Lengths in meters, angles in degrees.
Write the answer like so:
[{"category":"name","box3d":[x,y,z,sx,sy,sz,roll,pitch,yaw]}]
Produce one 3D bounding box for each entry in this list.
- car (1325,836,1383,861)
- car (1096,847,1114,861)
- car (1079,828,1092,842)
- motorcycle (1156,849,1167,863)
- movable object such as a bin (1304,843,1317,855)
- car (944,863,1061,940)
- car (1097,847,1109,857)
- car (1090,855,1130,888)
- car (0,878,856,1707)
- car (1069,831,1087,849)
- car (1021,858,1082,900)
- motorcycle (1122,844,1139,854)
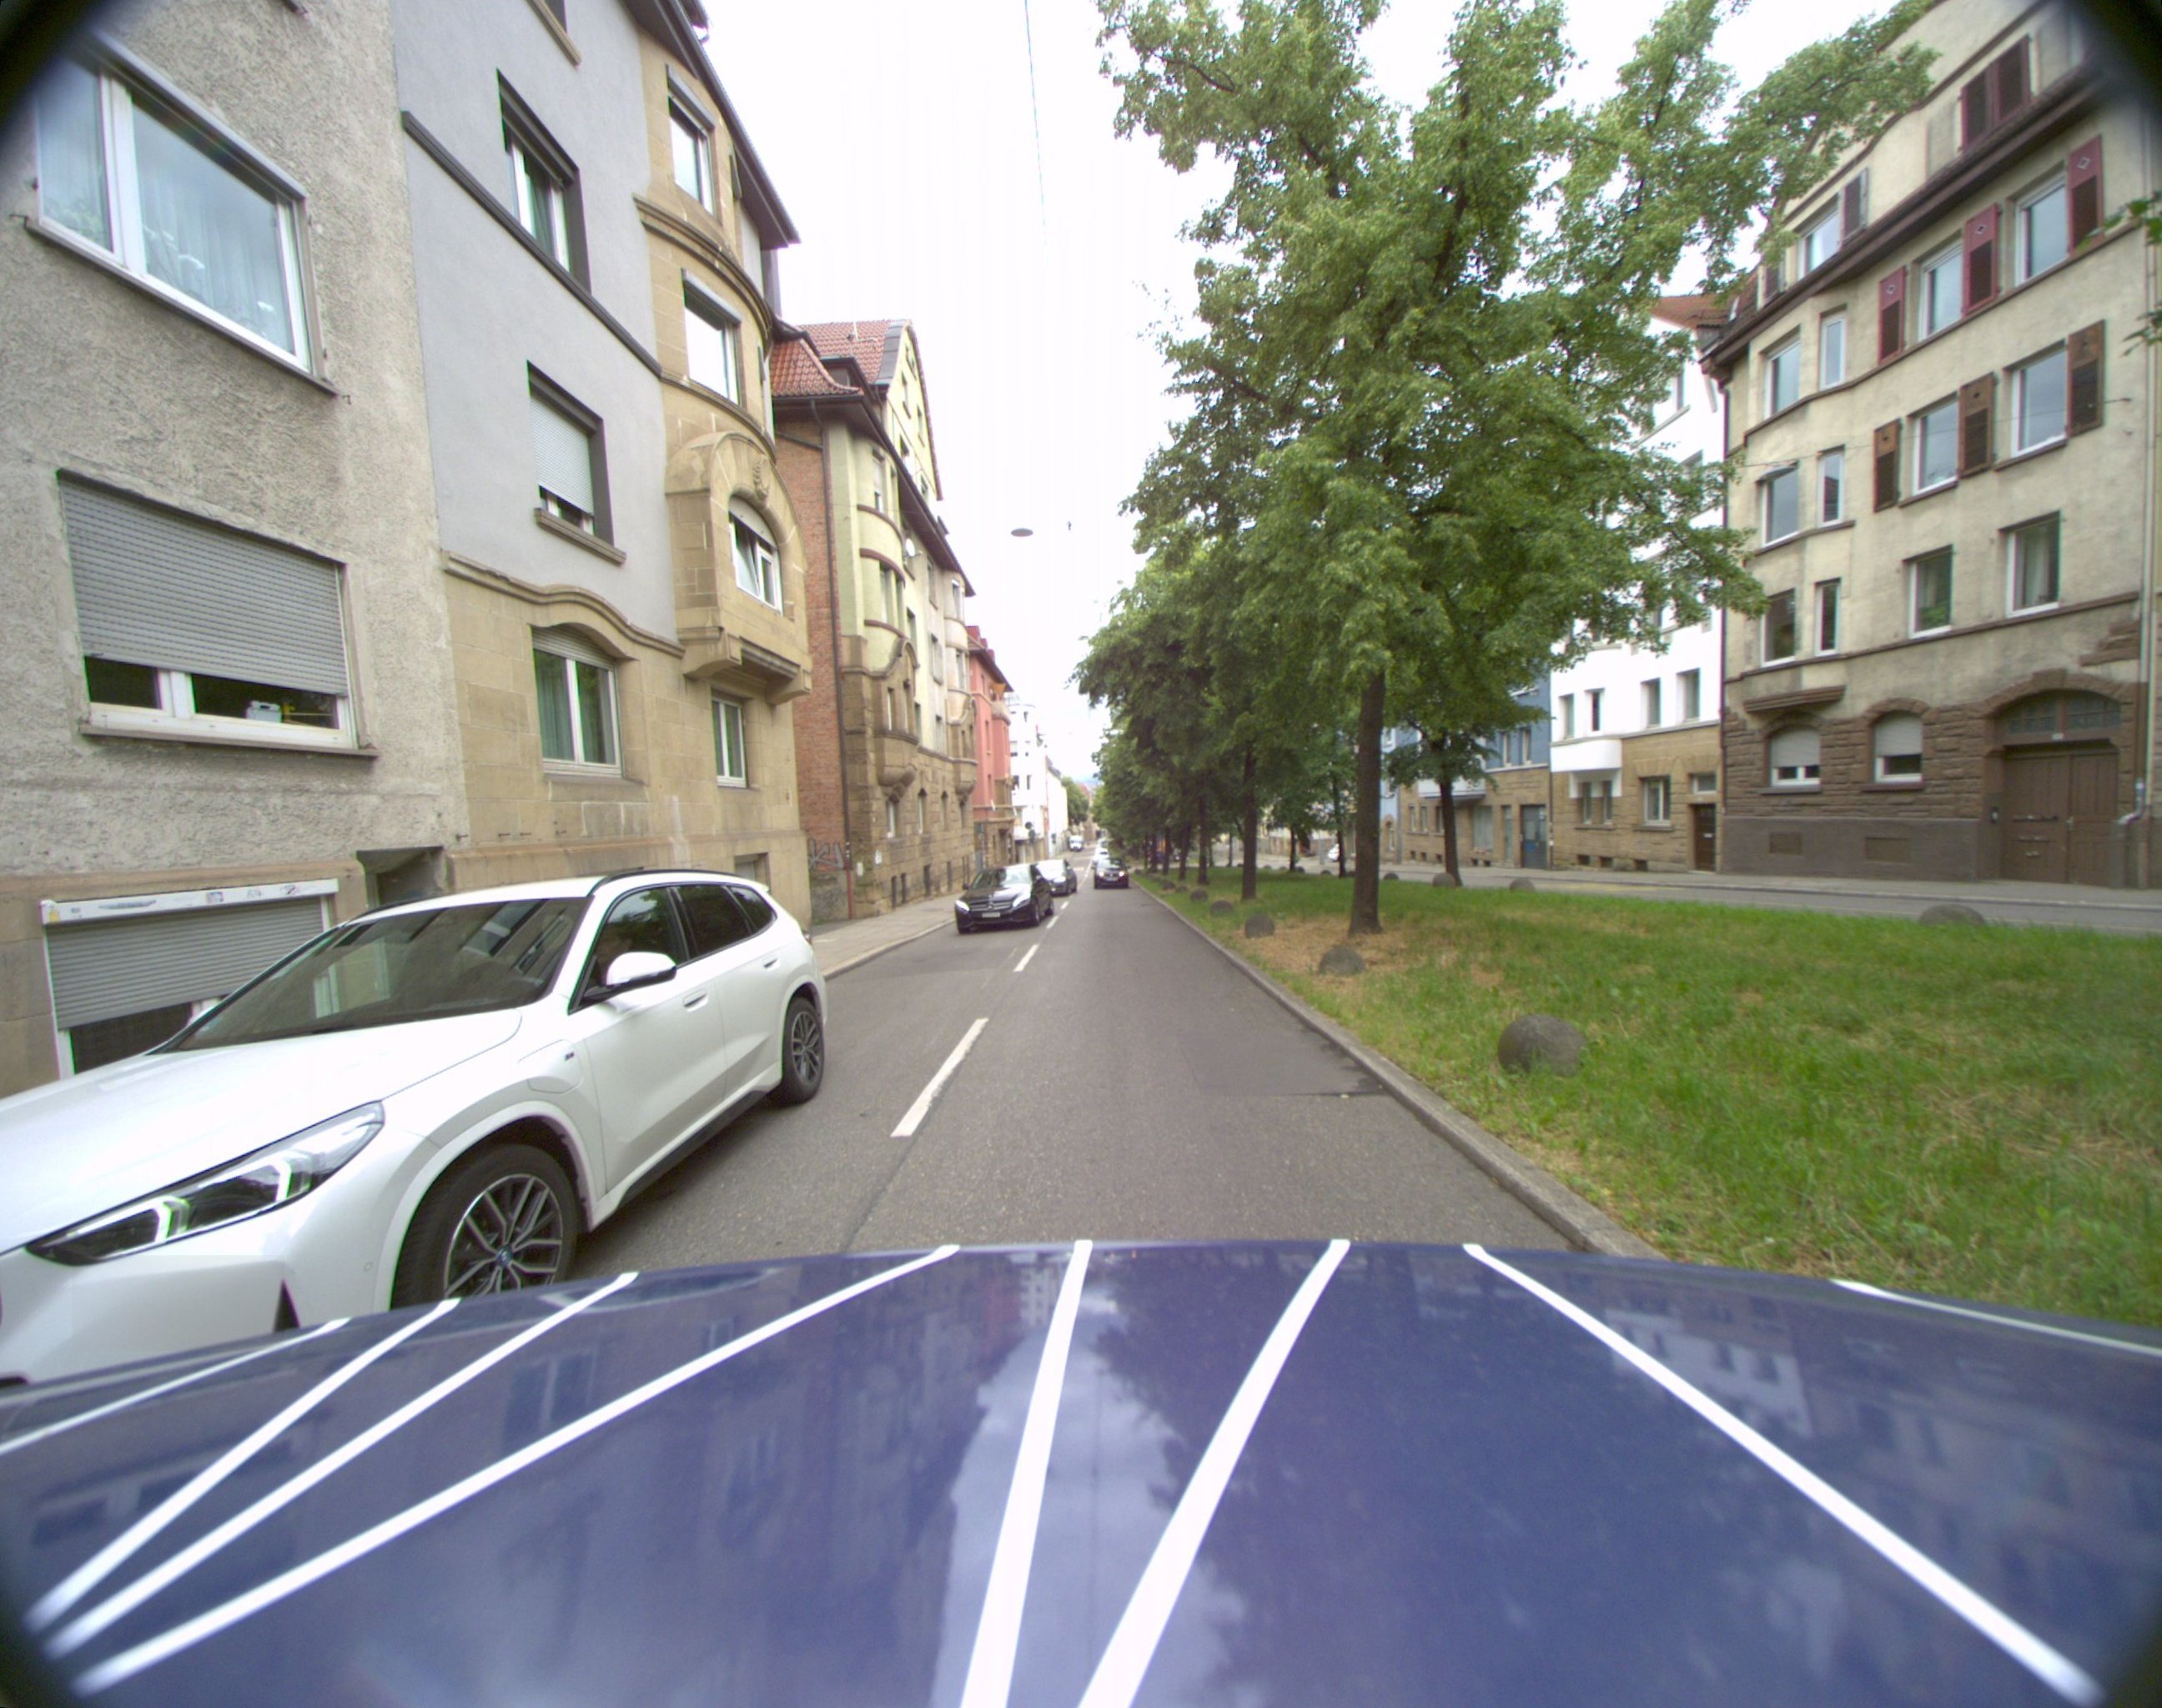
[{"category":"car","box3d":[22.451,-0.450,62.587,4.007,1.462,1.870,-7,3,-1]},{"category":"car","box3d":[2.470,-0.001,78.906,1.783,1.420,4.281,-1,0,2]},{"category":"car","box3d":[1.197,-4.761,189.188,3.026,3.045,7.165,-2,3,1]},{"category":"motorcycle","box3d":[7.461,0.130,70.421,0.888,1.090,2.481,-3,4,9]},{"category":"movable object such as a bin","box3d":[21.089,-0.457,69.773,0.887,0.988,0.668,-5,2,0]},{"category":"car","box3d":[-1.717,1.046,18.255,1.853,1.360,4.282,-6,0,6]},{"category":"car","box3d":[3.185,-0.321,109.607,1.783,1.420,4.281,-1,0,2]},{"category":"car","box3d":[1.399,0.813,36.873,1.783,1.420,4.281,-1,0,2]},{"category":"car","box3d":[-2.796,1.084,3.674,1.854,1.595,4.563,-6,0,1]},{"category":"car","box3d":[-0.527,-2.536,137.469,3.026,3.045,7.165,-2,3,1]},{"category":"car","box3d":[-1.105,0.948,30.704,1.854,1.360,4.282,-6,0,4]},{"category":"motorcycle","box3d":[6.390,-0.626,97.846,2.040,1.126,0.454,-3,4,2]}]
